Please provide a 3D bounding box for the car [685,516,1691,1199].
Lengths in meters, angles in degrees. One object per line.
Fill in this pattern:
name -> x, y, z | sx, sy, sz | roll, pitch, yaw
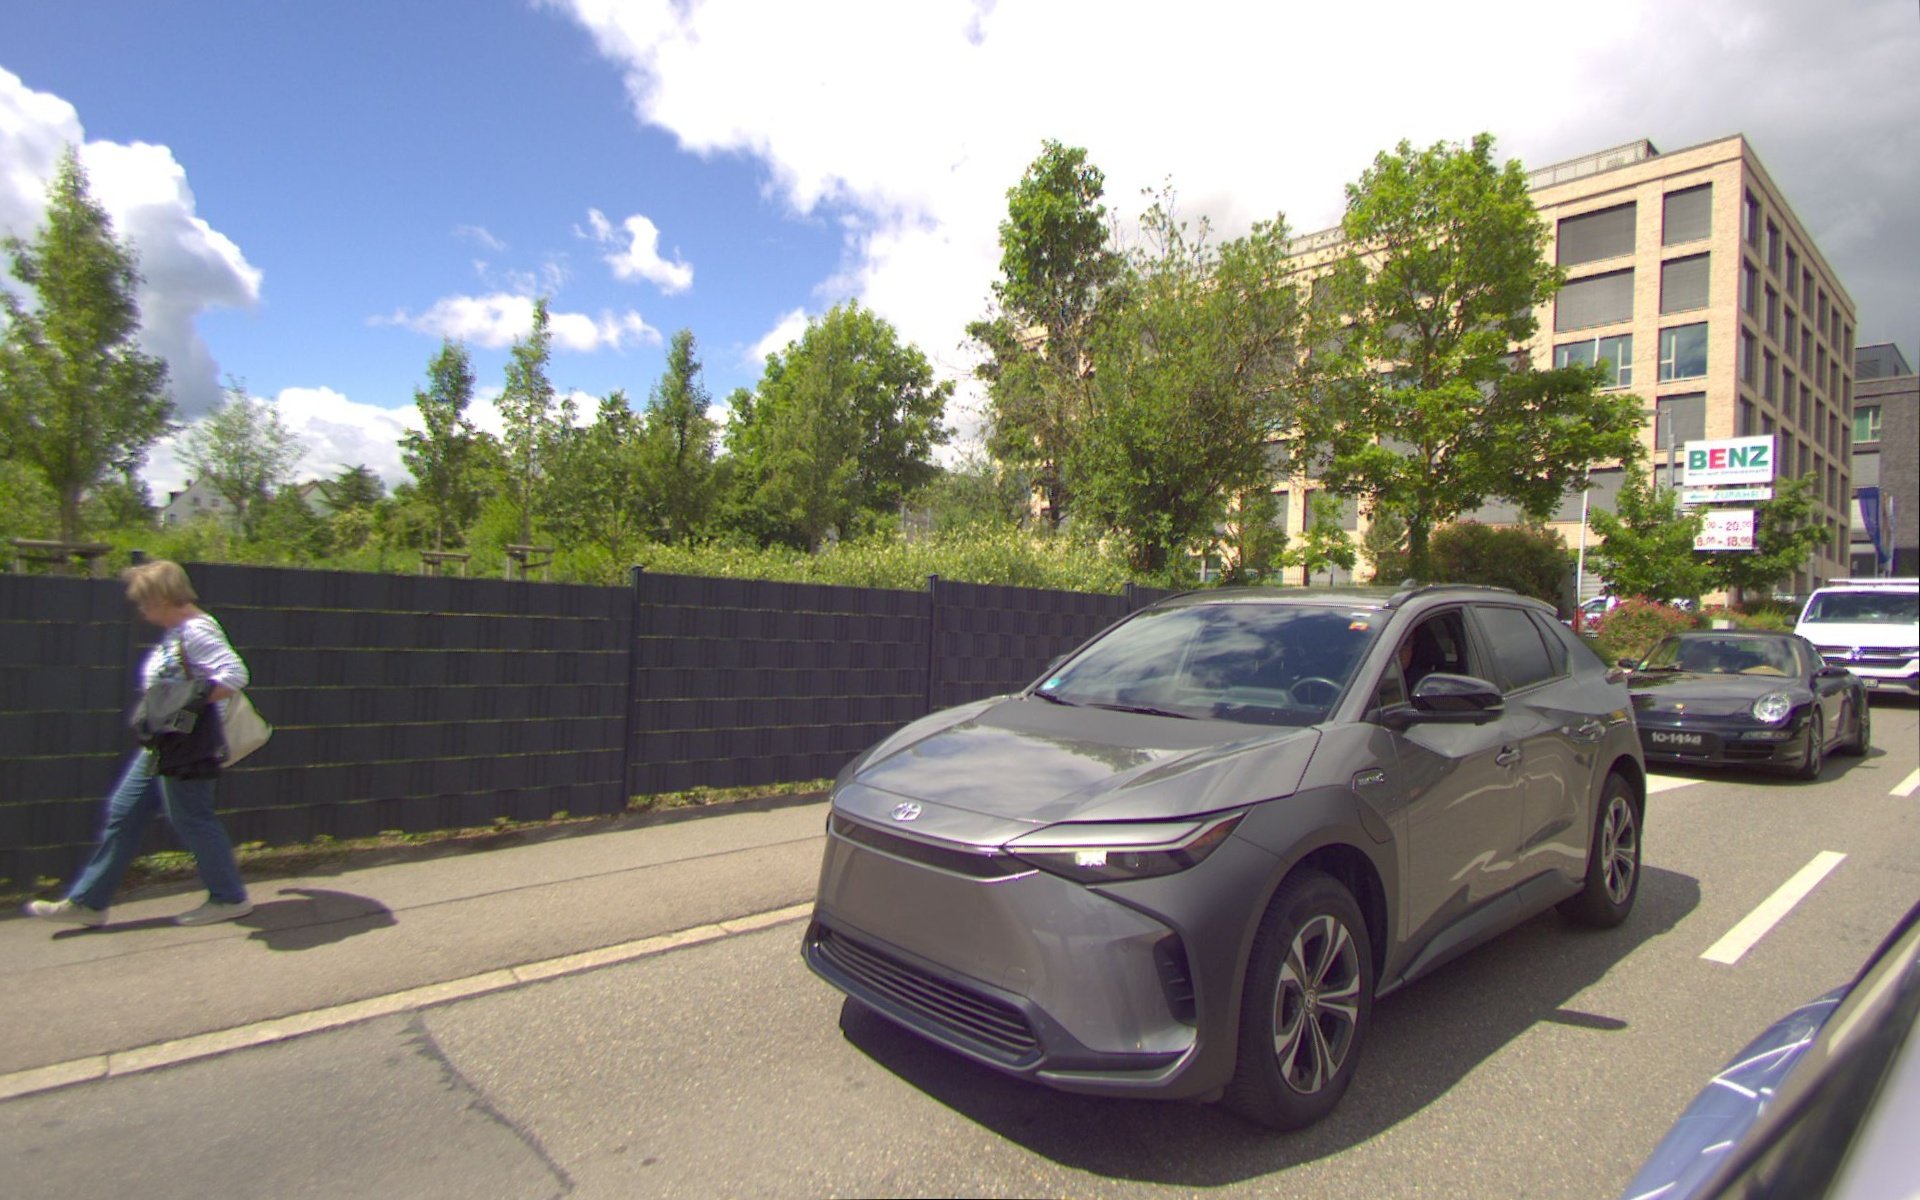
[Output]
car -> 1.375, 0.662, 4.396 | 4.601, 1.634, 1.922 | 1, -1, -41

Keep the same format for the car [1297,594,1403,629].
car -> 17.918, 0.494, 46.603 | 1.705, 1.436, 4.215 | 1, 1, -41

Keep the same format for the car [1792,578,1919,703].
car -> 15.702, 0.624, 16.965 | 4.563, 1.874, 1.962 | 1, -1, -41

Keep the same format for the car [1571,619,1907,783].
car -> 8.028, 0.850, 10.266 | 4.487, 1.290, 1.776 | 1, -1, -40

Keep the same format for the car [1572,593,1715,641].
car -> 25.667, 0.589, 38.102 | 1.707, 1.596, 4.211 | 1, 1, -44

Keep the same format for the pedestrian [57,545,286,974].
pedestrian -> -3.332, 0.573, 4.281 | 0.700, 1.581, 0.861 | 0, 1, -41

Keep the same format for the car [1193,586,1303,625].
car -> 11.474, 0.185, 40.470 | 1.572, 1.427, 3.994 | 0, 1, -41
